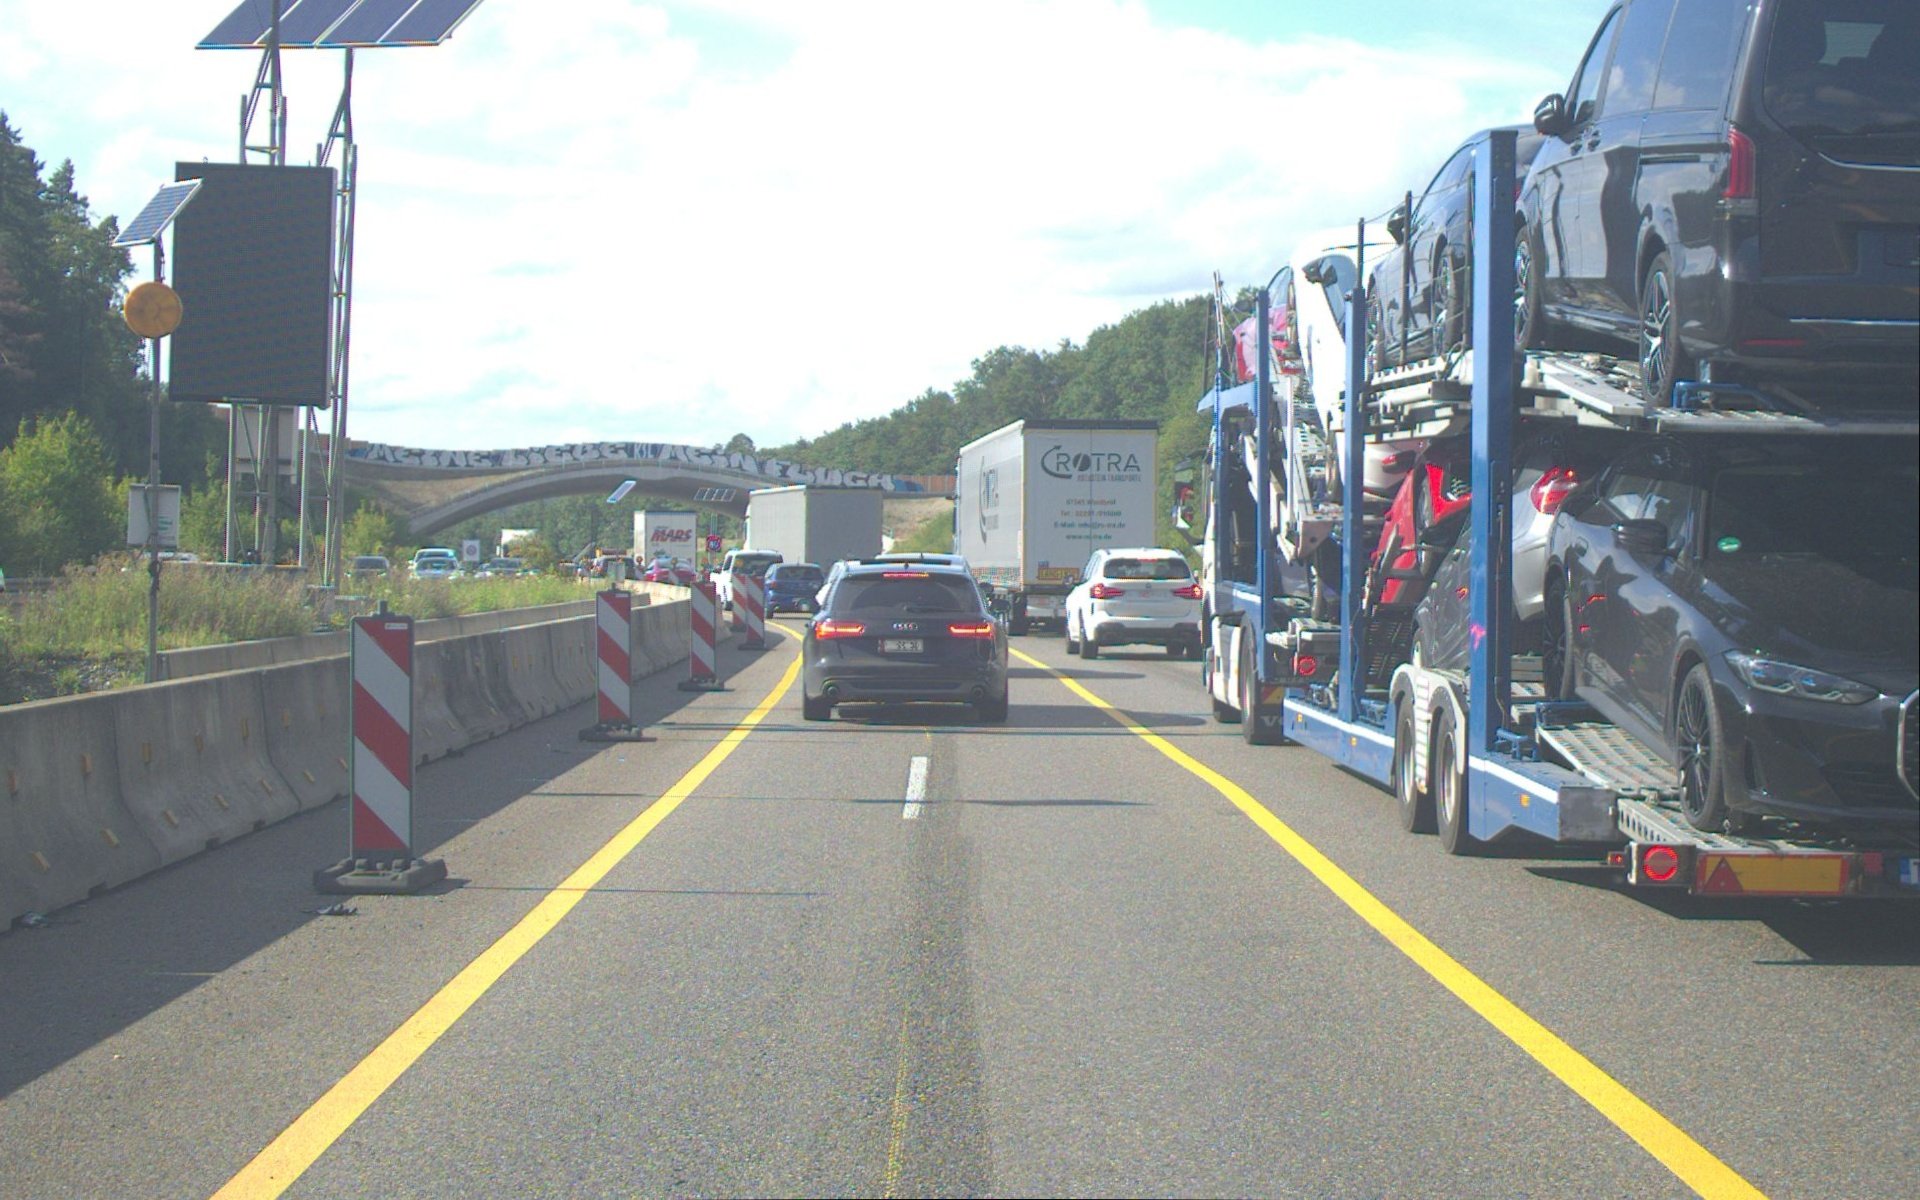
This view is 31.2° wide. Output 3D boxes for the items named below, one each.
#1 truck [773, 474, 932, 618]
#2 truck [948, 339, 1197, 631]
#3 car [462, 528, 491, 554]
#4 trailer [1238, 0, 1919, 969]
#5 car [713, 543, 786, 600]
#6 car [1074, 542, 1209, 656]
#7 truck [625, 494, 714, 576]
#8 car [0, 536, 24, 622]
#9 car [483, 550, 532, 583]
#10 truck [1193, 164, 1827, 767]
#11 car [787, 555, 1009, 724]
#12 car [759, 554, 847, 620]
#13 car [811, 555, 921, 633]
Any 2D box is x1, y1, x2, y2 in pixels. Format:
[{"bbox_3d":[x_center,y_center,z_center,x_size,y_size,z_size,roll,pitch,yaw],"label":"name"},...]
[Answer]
[{"bbox_3d":[-3.764,-1.807,116.799,4.318,4.584,11.127,1,1,-7],"label":"truck"},{"bbox_3d":[2.059,-2.218,71.689,3.677,5.335,16.203,1,1,-3],"label":"truck"},{"bbox_3d":[-35.419,-4.305,251.977,1.780,1.860,4.001,1,1,-3],"label":"car"},{"bbox_3d":[4.257,-0.893,20.007,3.726,4.182,16.228,1,1,-1],"label":"trailer"},{"bbox_3d":[-6.245,-0.846,101.682,1.890,1.638,4.019,1,1,-7],"label":"car"},{"bbox_3d":[2.719,-0.034,52.284,1.890,1.638,4.018,1,1,1],"label":"car"},{"bbox_3d":[-14.638,-3.242,172.402,3.653,3.915,11.070,1,1,-9],"label":"truck"},{"bbox_3d":[-18.715,-0.402,63.283,1.778,1.597,4.018,1,1,1],"label":"car"},{"bbox_3d":[-22.911,-1.697,174.179,1.968,1.597,4.948,1,1,-2],"label":"car"},{"bbox_3d":[4.136,-0.987,28.140,3.761,4.182,7.951,1,1,-1],"label":"truck"},{"bbox_3d":[-0.514,0.323,32.002,1.890,1.441,4.000,1,1,1],"label":"car"},{"bbox_3d":[-4.080,-0.364,88.717,1.890,1.638,4.019,1,1,-8],"label":"car"},{"bbox_3d":[-1.833,-0.135,66.121,1.890,1.441,4.001,1,1,-5],"label":"car"}]
